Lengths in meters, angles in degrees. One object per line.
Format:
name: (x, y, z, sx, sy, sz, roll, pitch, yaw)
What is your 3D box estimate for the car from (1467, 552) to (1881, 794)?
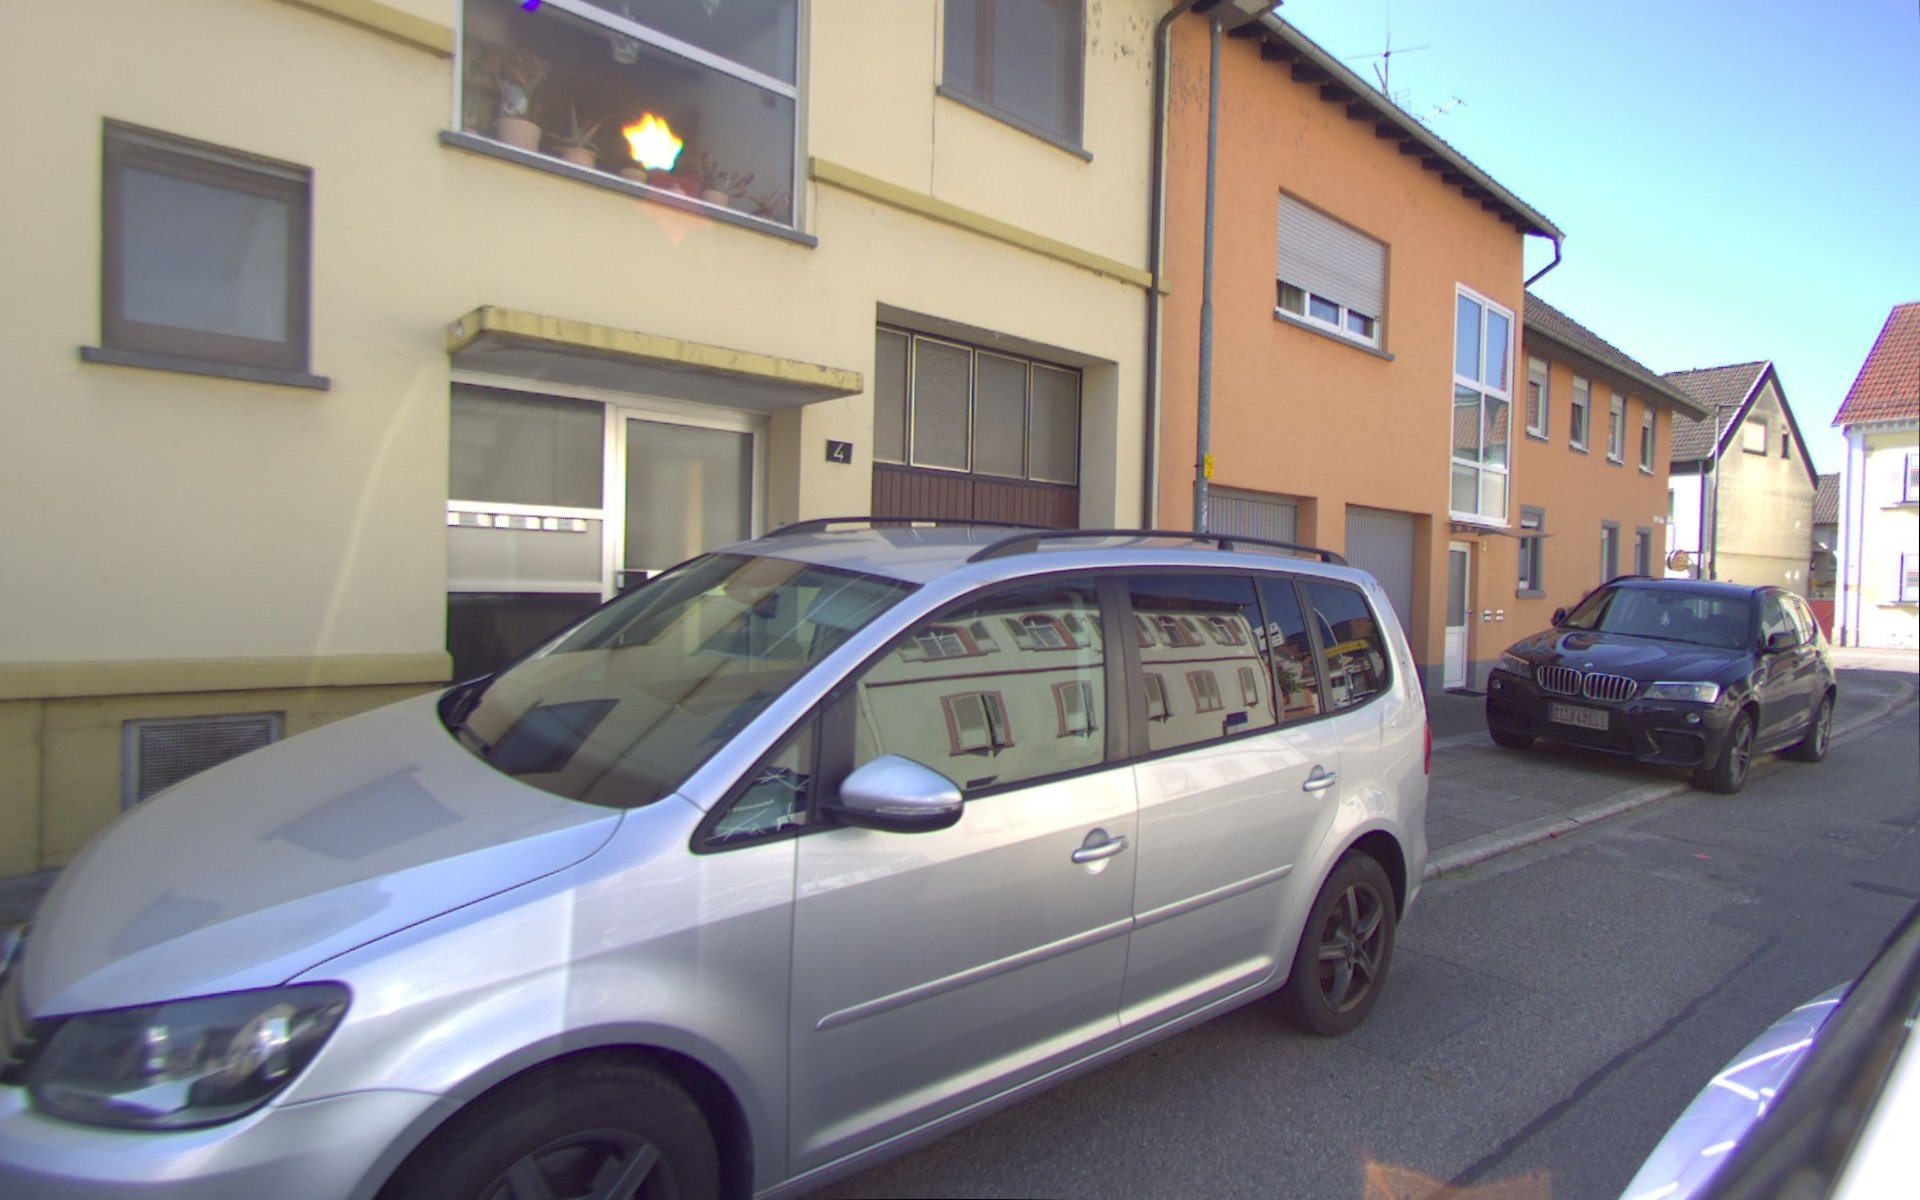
car: (6.964, 0.521, 9.624, 5.086, 1.723, 1.849, 1, 2, -39)

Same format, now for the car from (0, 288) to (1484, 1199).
car: (-0.252, 0.488, 3.232, 4.172, 1.749, 1.903, 1, 1, -39)

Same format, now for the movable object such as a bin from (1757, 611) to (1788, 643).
movable object such as a bin: (26.014, 0.850, 32.403, 0.633, 0.993, 0.613, 0, 1, -38)
